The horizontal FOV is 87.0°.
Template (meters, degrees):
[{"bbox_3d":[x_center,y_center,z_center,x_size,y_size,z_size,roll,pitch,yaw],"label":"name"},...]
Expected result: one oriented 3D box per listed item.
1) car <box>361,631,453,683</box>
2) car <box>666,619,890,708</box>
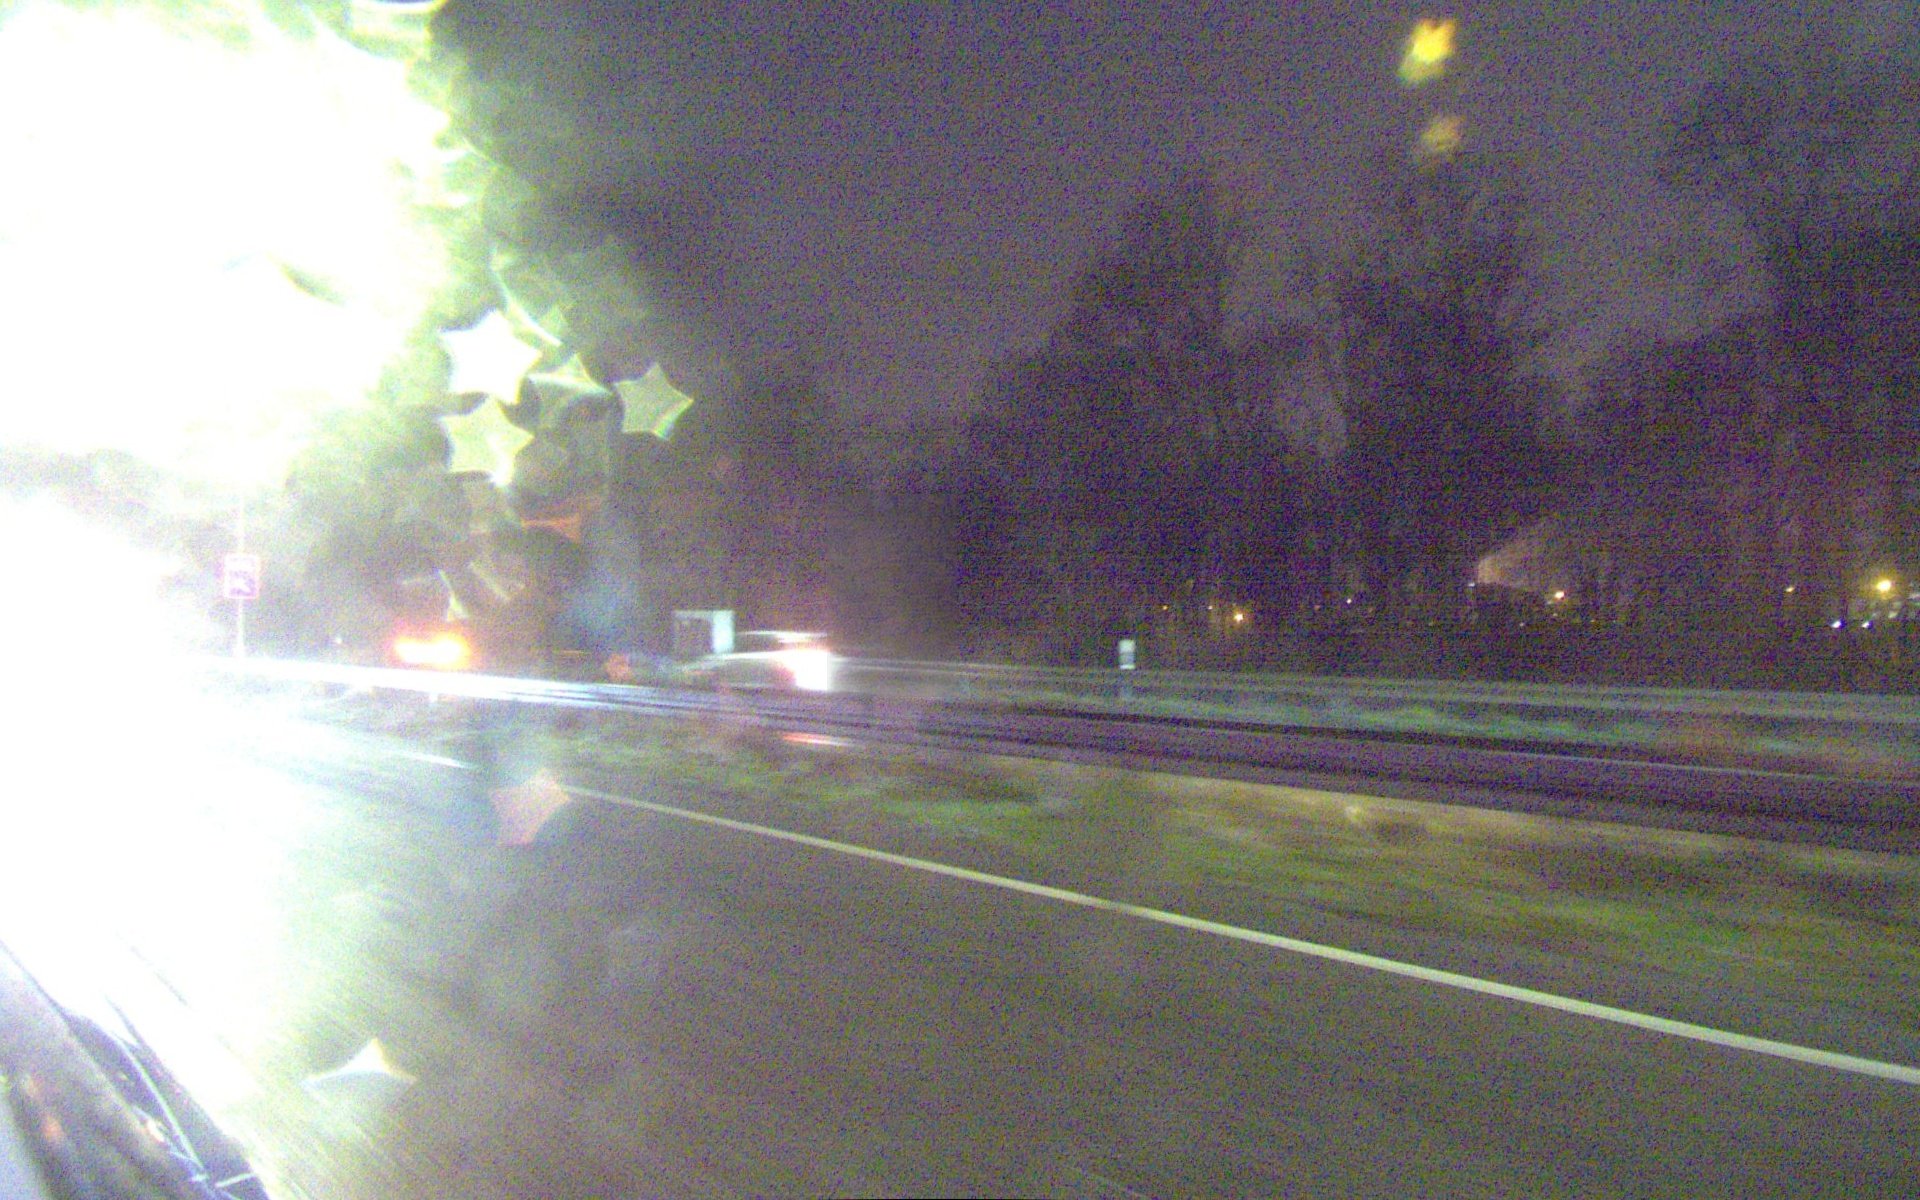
[{"bbox_3d":[-19.076,1.909,34.842,3.833,1.563,1.583,0,1,42],"label":"car"},{"bbox_3d":[-3.897,1.226,21.149,4.894,1.513,2.002,0,1,41],"label":"car"}]
